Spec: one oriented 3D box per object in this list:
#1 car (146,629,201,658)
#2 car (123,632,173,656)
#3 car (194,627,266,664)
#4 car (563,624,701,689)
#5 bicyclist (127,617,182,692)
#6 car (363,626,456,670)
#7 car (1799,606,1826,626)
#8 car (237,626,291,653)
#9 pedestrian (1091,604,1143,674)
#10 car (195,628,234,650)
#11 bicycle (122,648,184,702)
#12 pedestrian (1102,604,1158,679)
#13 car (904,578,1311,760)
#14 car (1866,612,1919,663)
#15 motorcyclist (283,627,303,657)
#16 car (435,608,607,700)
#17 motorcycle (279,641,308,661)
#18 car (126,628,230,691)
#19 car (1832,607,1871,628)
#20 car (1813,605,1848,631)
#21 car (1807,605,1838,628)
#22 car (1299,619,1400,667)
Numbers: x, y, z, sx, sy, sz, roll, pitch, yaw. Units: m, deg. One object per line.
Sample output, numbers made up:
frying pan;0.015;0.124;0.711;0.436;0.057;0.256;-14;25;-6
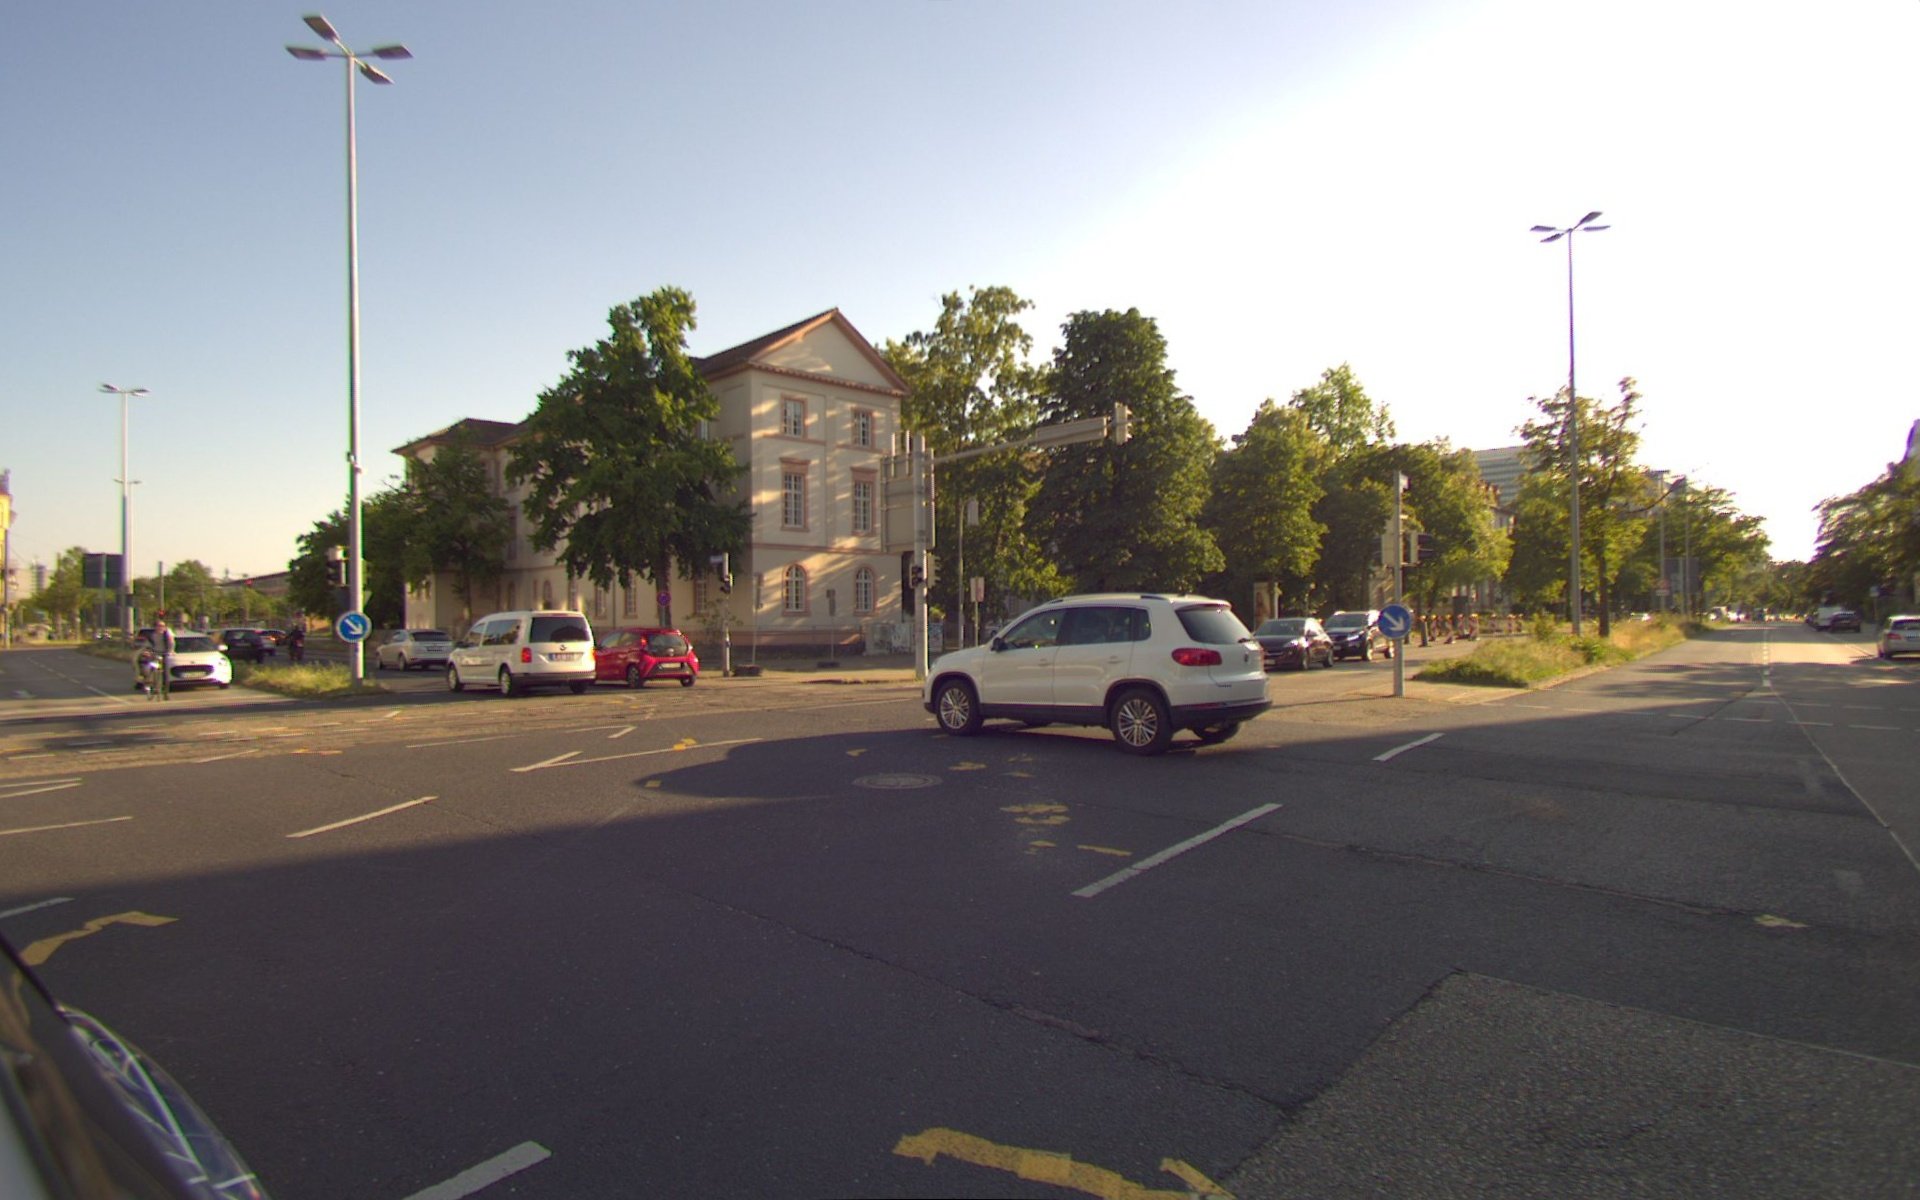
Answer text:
car;-42.693;2.352;54.900;4.293;1.473;1.740;-2;-2;44
car;-52.516;2.841;65.419;4.293;1.473;2.020;-2;-2;44
car;-31.319;1.914;43.377;4.293;1.473;1.740;-2;-2;44
car;-8.254;1.369;25.310;3.813;1.489;1.688;-2;-2;44
bicyclist;-17.952;1.193;22.541;1.023;1.616;0.827;-2;-2;44
car;-19.993;1.698;36.697;4.293;1.473;1.740;-2;-2;44
car;88.029;1.608;104.500;1.998;2.029;3.947;-2;-2;39
car;-39.631;2.223;57.593;4.293;1.473;1.740;-2;-2;44
pedestrian;3.902;0.962;25.194;1.083;1.721;0.670;-2;-2;37
car;-56.994;2.985;77.340;4.293;1.648;1.740;-2;-2;44
bicycle;-17.996;1.637;22.550;2.081;1.116;0.822;-2;-2;44
pedestrian;4.346;1.049;25.878;1.168;1.863;0.810;-2;-2;37
car;1.532;0.713;11.756;4.441;1.719;1.807;-2;-2;43
car;34.630;1.319;36.649;1.993;1.741;3.957;-2;-1;32
motorcyclist;-31.685;2.003;48.062;0.756;1.417;0.612;-2;-2;41
car;-9.981;1.159;22.790;4.948;1.861;1.807;-2;-2;44
motorcycle;-31.641;2.409;48.030;2.161;0.886;0.632;-2;-2;42
car;-20.483;1.511;26.469;1.740;1.510;3.710;0;-2;-44
car;66.378;1.279;75.395;1.998;1.497;3.947;-2;-2;39
car;70.567;1.423;82.098;1.998;2.029;3.947;-2;-2;39
car;77.019;1.492;90.429;1.998;2.029;3.947;-2;-2;39
car;12.928;1.398;33.469;1.999;1.457;3.597;-2;-2;41
